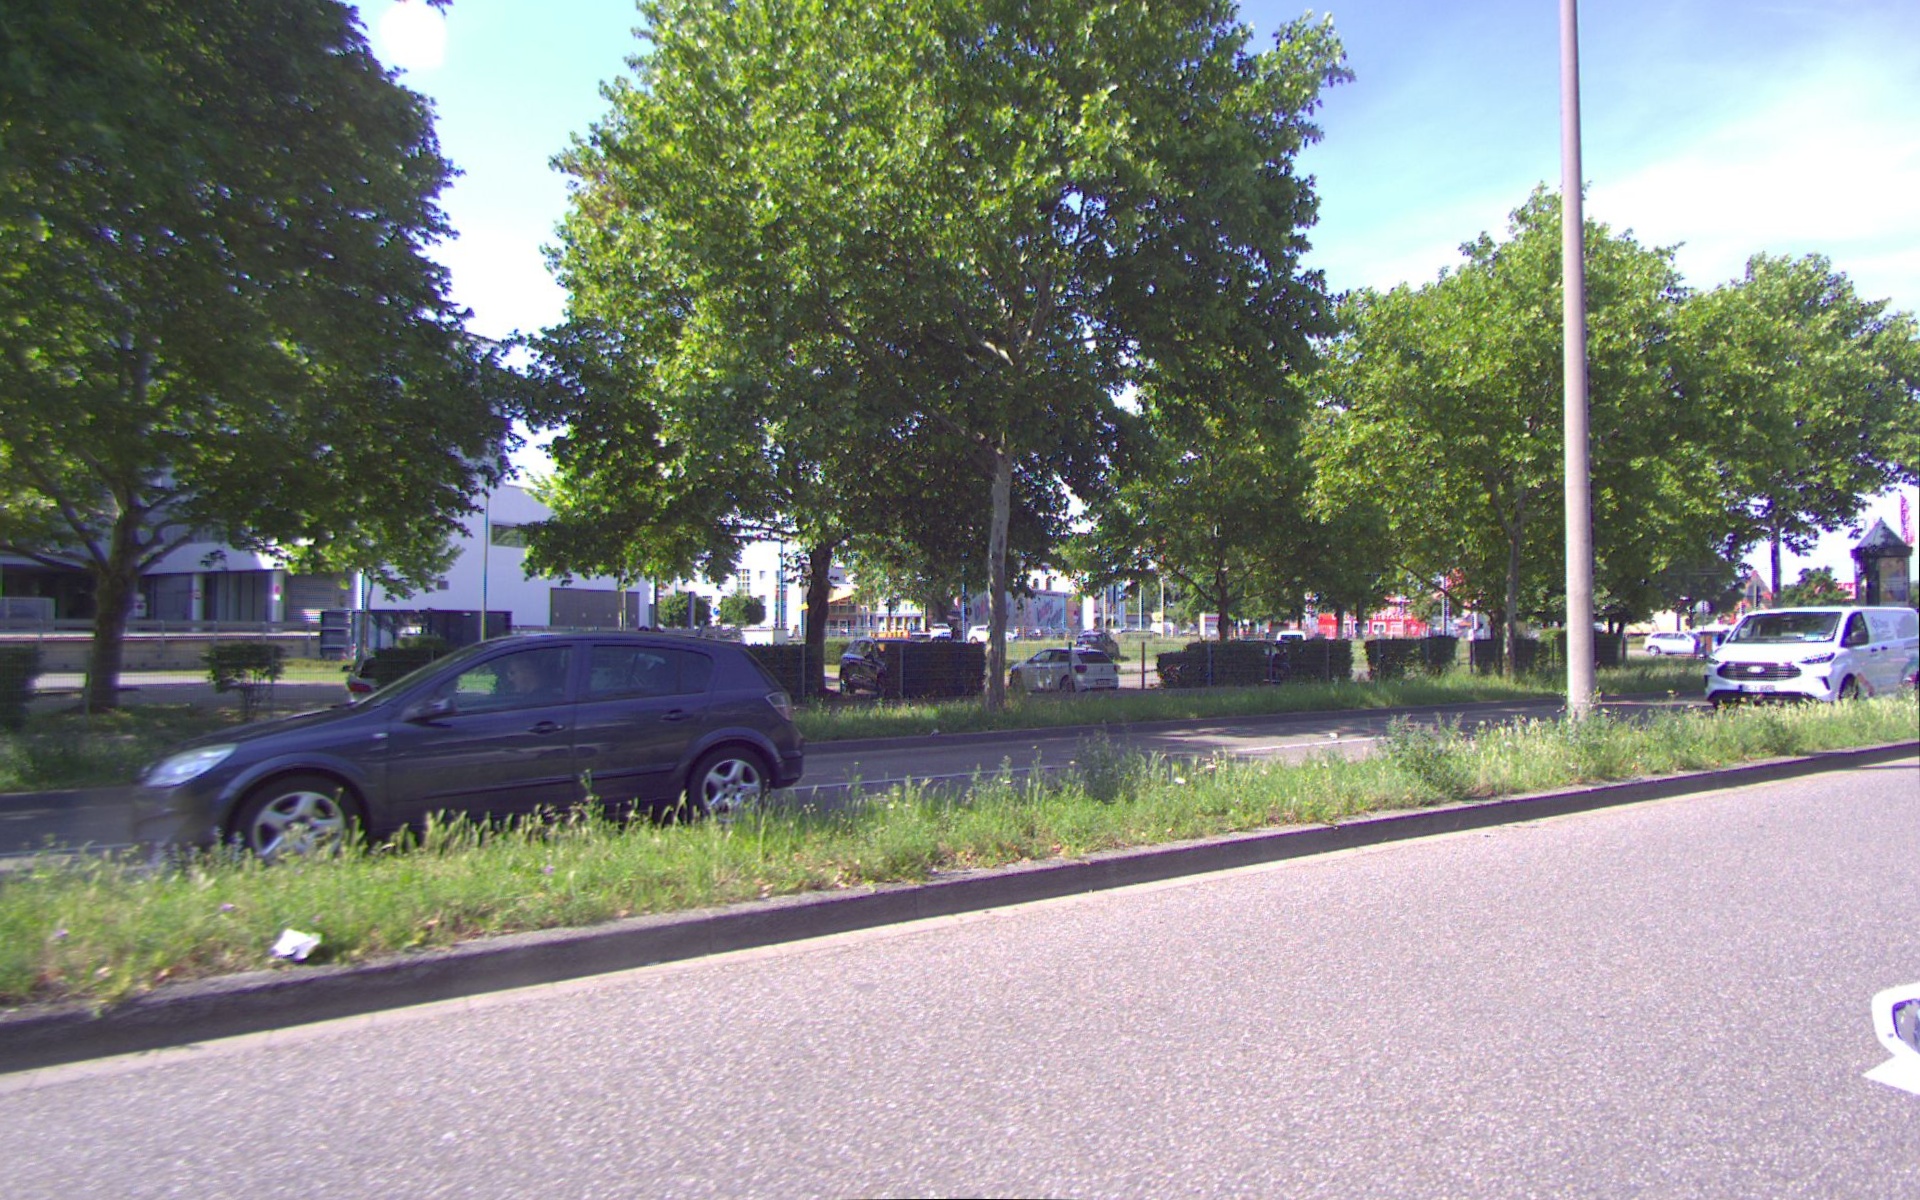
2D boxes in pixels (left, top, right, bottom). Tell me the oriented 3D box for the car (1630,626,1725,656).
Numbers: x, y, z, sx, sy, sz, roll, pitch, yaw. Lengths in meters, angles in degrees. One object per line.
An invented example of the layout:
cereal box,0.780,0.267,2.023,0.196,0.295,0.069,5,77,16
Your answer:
car,40.520,2.293,56.844,1.695,1.624,4.148,0,-2,-18

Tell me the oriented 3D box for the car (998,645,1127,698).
car,3.074,2.151,30.823,1.787,1.432,3.961,3,-2,-35

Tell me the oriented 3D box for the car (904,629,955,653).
car,-2.630,3.547,86.407,3.925,1.929,1.845,-2,0,25

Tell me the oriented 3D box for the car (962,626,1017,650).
car,2.328,3.014,79.738,3.925,1.795,1.845,-2,0,25

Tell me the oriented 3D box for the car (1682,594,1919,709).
car,16.097,0.938,18.947,5.358,1.908,2.106,1,-2,-32

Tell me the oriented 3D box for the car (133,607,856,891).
car,-3.026,0.859,7.198,4.237,1.488,1.759,1,-3,-33

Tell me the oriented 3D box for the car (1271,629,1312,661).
car,18.320,2.482,55.391,1.961,1.687,4.845,-1,-2,21

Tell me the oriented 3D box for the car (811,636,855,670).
car,-6.651,2.701,52.282,1.774,1.524,3.989,-2,0,-14

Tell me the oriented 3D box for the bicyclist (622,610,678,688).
bicyclist,-6.206,0.977,20.101,0.931,1.504,0.678,1,-2,-30

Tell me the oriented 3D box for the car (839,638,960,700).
car,-1.798,1.901,28.602,1.848,1.622,3.968,1,-2,-31

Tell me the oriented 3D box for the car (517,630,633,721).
car,-8.941,1.653,23.129,2.128,1.847,3.974,2,-1,-26

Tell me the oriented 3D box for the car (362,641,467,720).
car,-11.396,1.594,21.027,1.751,1.483,3.970,1,-2,-29

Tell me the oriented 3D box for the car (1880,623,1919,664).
car,42.209,1.848,42.869,1.832,1.773,4.400,0,-2,0

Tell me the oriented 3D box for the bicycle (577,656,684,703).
bicycle,-6.517,1.553,19.903,1.904,0.877,0.686,1,-2,-31
